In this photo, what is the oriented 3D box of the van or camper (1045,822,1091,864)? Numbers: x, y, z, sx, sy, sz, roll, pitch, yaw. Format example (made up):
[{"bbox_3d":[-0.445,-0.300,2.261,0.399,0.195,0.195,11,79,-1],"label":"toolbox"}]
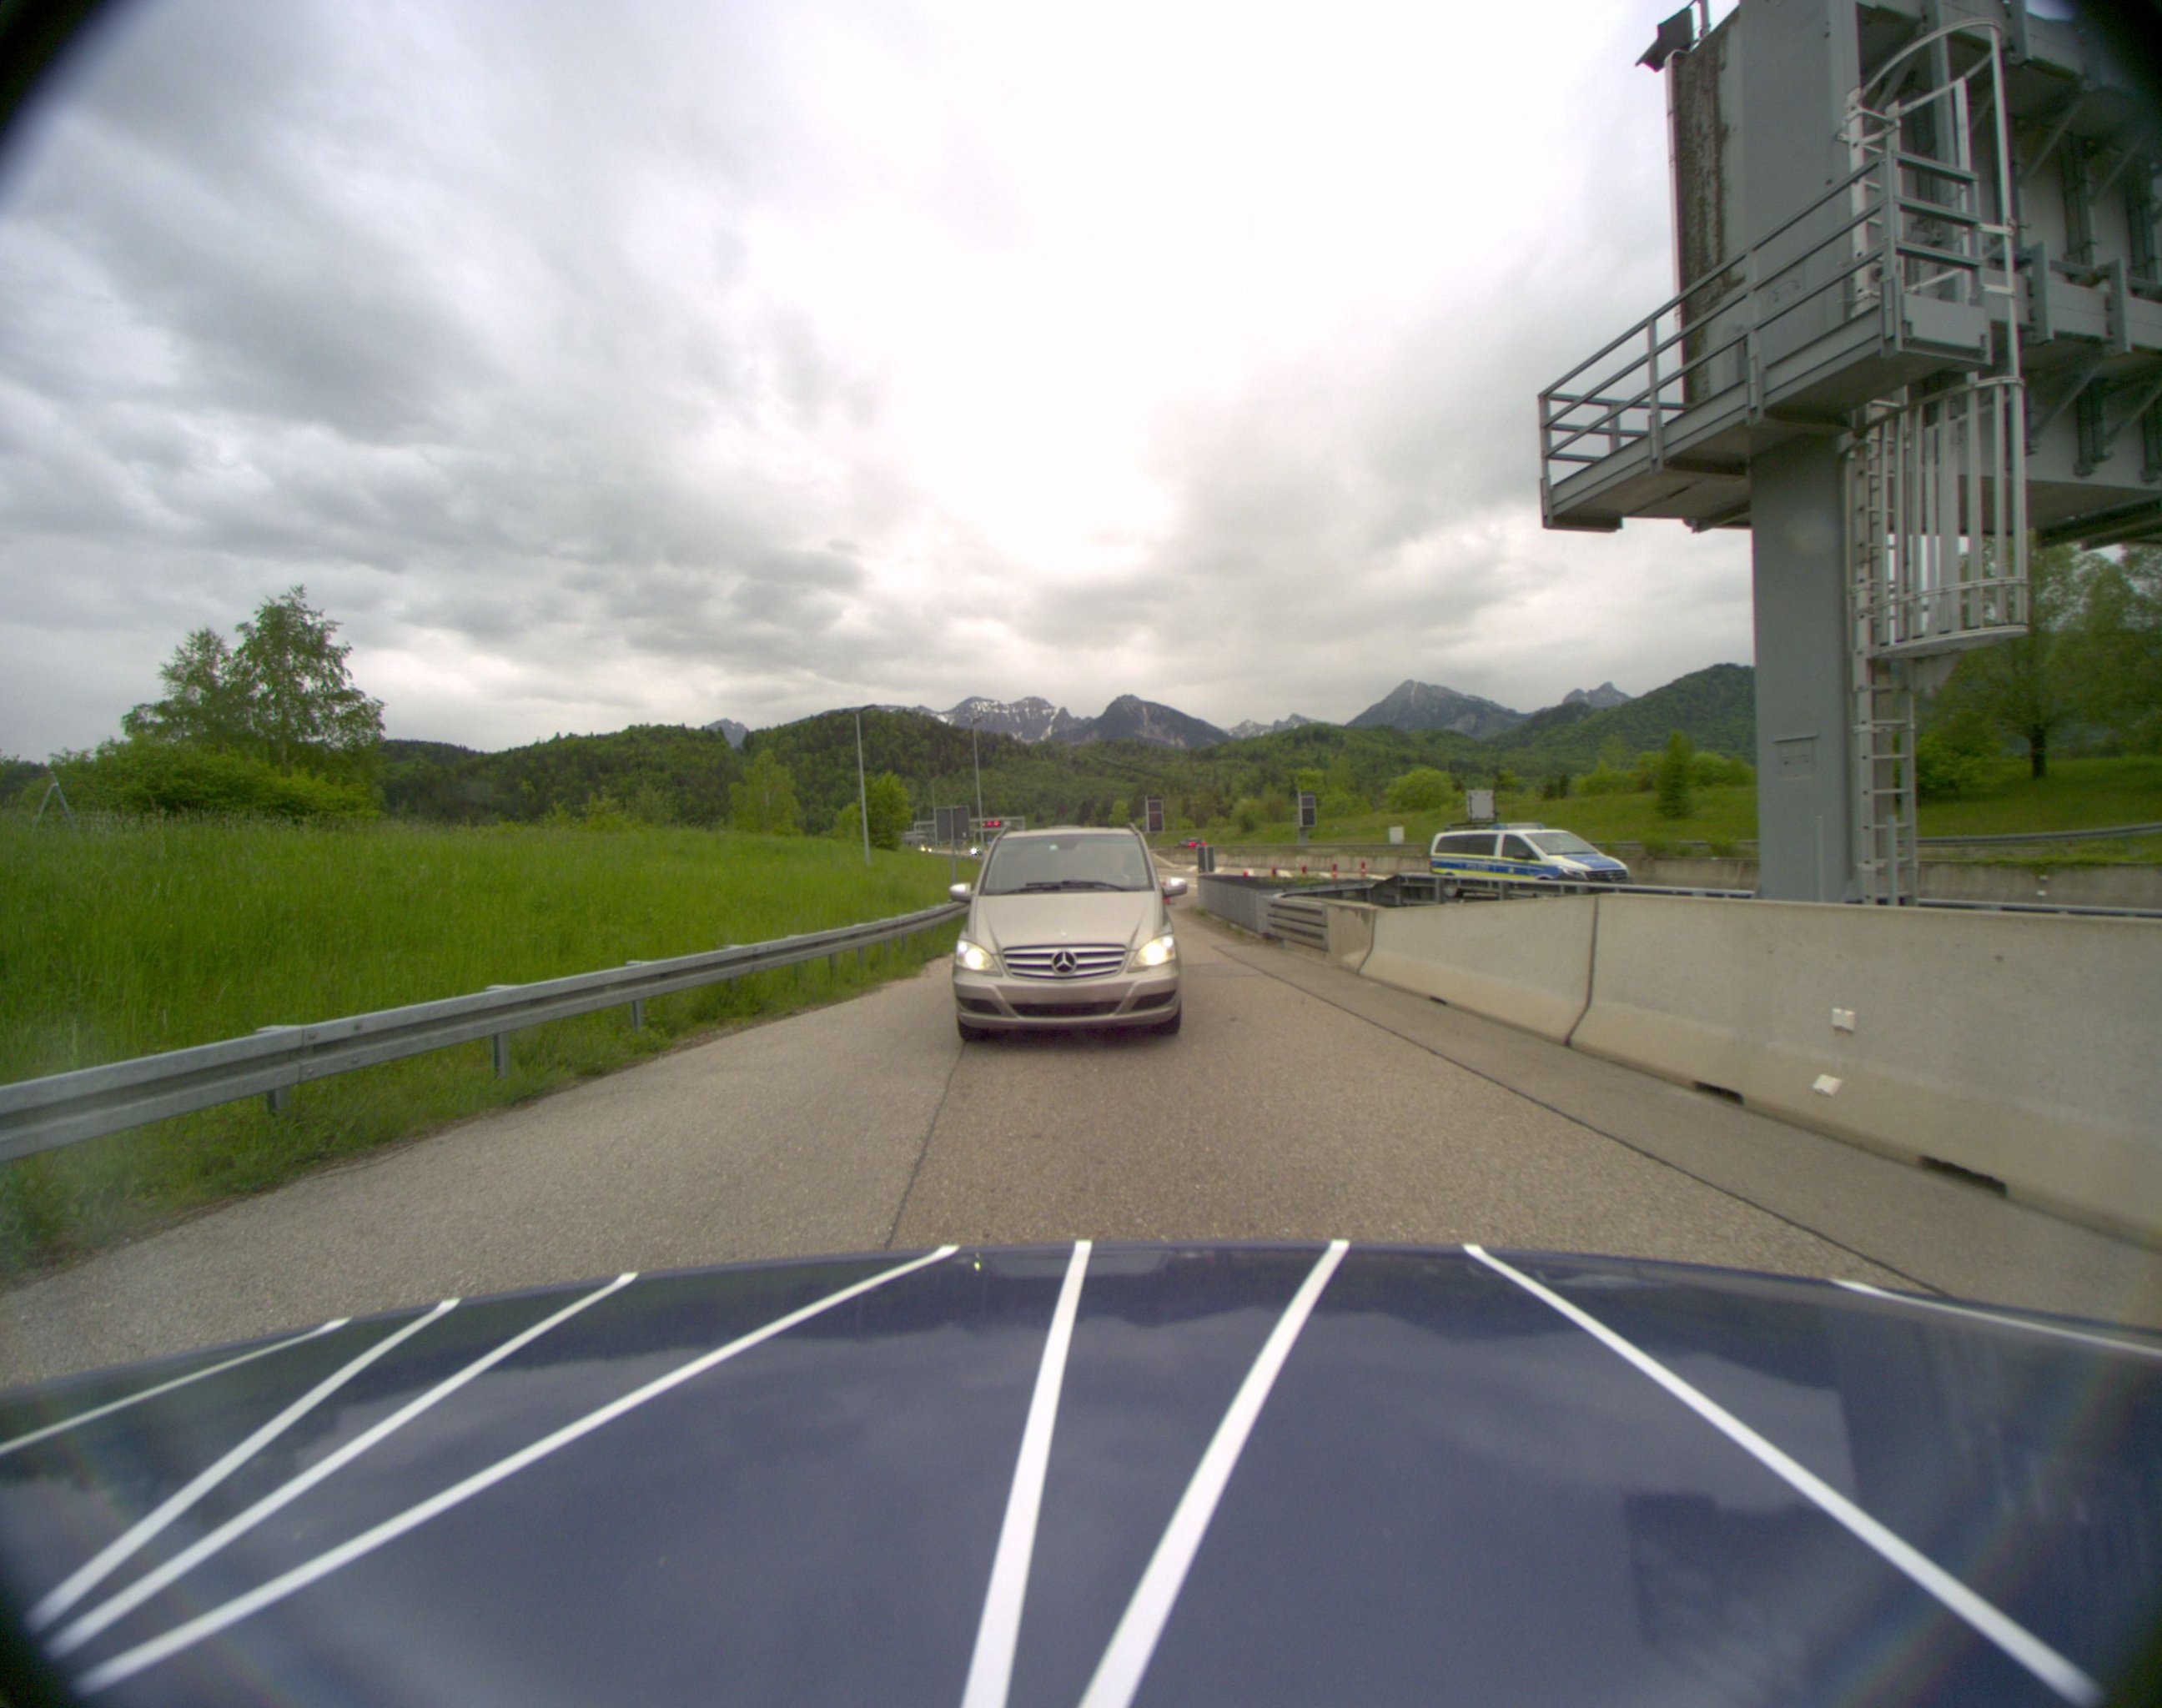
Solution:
[{"bbox_3d":[-1.211,-0.945,65.128,2.584,3.372,7.347,-2,1,-11],"label":"van or camper"}]

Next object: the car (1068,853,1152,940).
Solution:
[{"bbox_3d":[0.609,0.840,16.868,1.591,1.662,4.000,-1,0,1],"label":"car"}]

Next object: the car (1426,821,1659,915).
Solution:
[{"bbox_3d":[11.334,0.276,19.207,2.106,2.002,5.045,-2,1,-13],"label":"car"}]

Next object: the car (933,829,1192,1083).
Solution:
[{"bbox_3d":[-0.099,0.710,8.369,1.862,1.833,5.616,-1,1,1],"label":"car"}]

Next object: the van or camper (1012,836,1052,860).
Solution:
[{"bbox_3d":[-6.127,-0.740,92.804,3.345,2.629,8.189,-1,1,-15],"label":"van or camper"}]

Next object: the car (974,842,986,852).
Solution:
[{"bbox_3d":[-18.328,-1.270,137.848,1.722,1.629,4.342,-1,1,-14],"label":"car"}]

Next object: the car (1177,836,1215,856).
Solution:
[{"bbox_3d":[11.713,-0.857,77.655,1.992,1.944,5.102,-1,1,-15],"label":"car"}]
